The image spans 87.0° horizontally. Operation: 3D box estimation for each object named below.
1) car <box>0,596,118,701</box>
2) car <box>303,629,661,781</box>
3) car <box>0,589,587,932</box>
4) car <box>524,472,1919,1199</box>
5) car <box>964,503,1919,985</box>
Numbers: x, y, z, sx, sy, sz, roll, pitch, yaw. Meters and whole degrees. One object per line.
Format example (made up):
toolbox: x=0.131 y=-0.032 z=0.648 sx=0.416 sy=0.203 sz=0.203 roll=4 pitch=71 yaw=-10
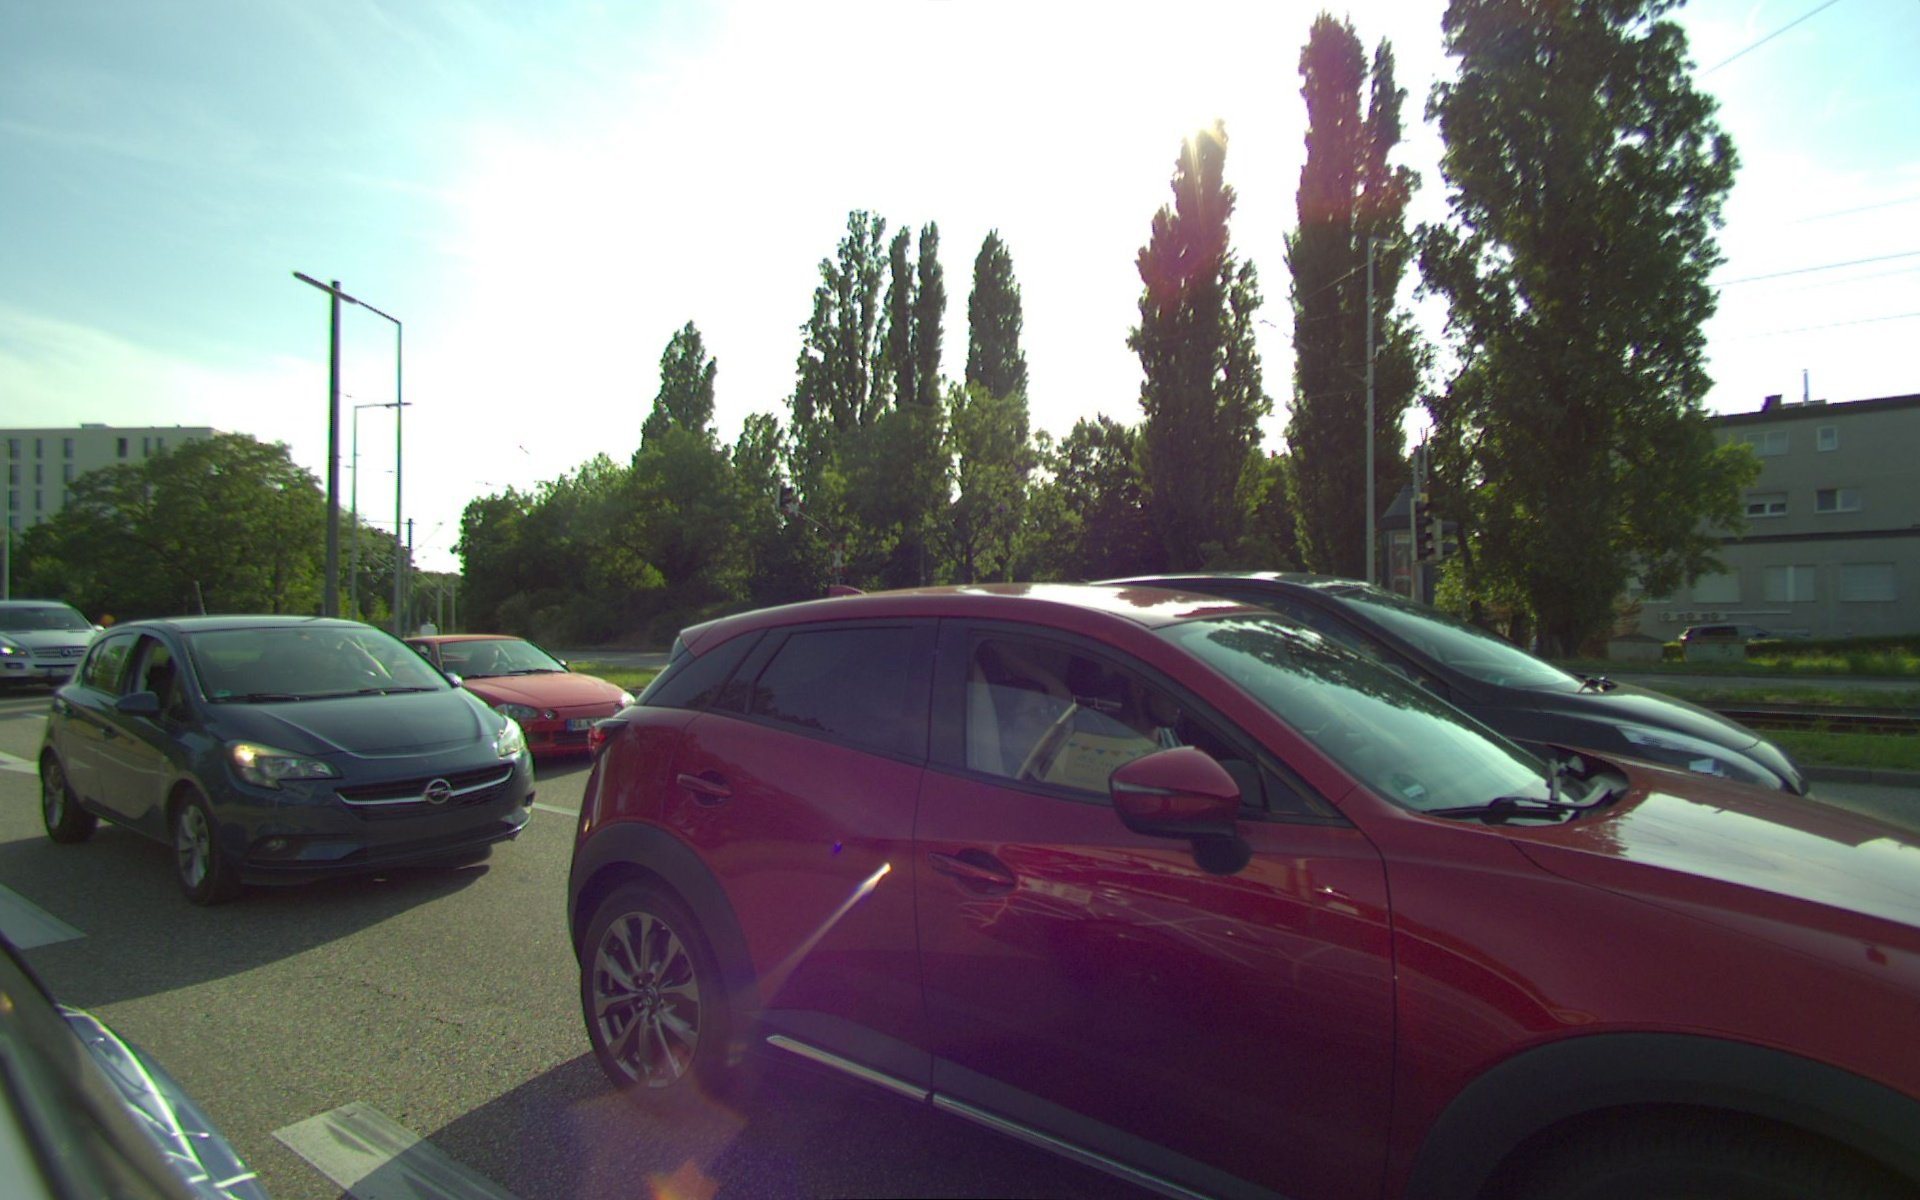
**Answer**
car: x=-18.479 y=0.902 z=19.879 sx=4.345 sy=1.837 sz=1.880 roll=-1 pitch=0 yaw=35
car: x=-5.014 y=0.944 z=10.449 sx=3.839 sy=1.215 sz=1.716 roll=-1 pitch=0 yaw=36
car: x=-4.391 y=0.760 z=6.412 sx=4.212 sy=1.517 sz=1.727 roll=-1 pitch=-1 yaw=35
car: x=0.739 y=0.654 z=2.651 sx=3.970 sy=1.563 sz=1.691 roll=-1 pitch=-2 yaw=36
car: x=2.185 y=0.536 z=5.447 sx=4.075 sy=1.683 sz=1.748 roll=-1 pitch=-1 yaw=36
